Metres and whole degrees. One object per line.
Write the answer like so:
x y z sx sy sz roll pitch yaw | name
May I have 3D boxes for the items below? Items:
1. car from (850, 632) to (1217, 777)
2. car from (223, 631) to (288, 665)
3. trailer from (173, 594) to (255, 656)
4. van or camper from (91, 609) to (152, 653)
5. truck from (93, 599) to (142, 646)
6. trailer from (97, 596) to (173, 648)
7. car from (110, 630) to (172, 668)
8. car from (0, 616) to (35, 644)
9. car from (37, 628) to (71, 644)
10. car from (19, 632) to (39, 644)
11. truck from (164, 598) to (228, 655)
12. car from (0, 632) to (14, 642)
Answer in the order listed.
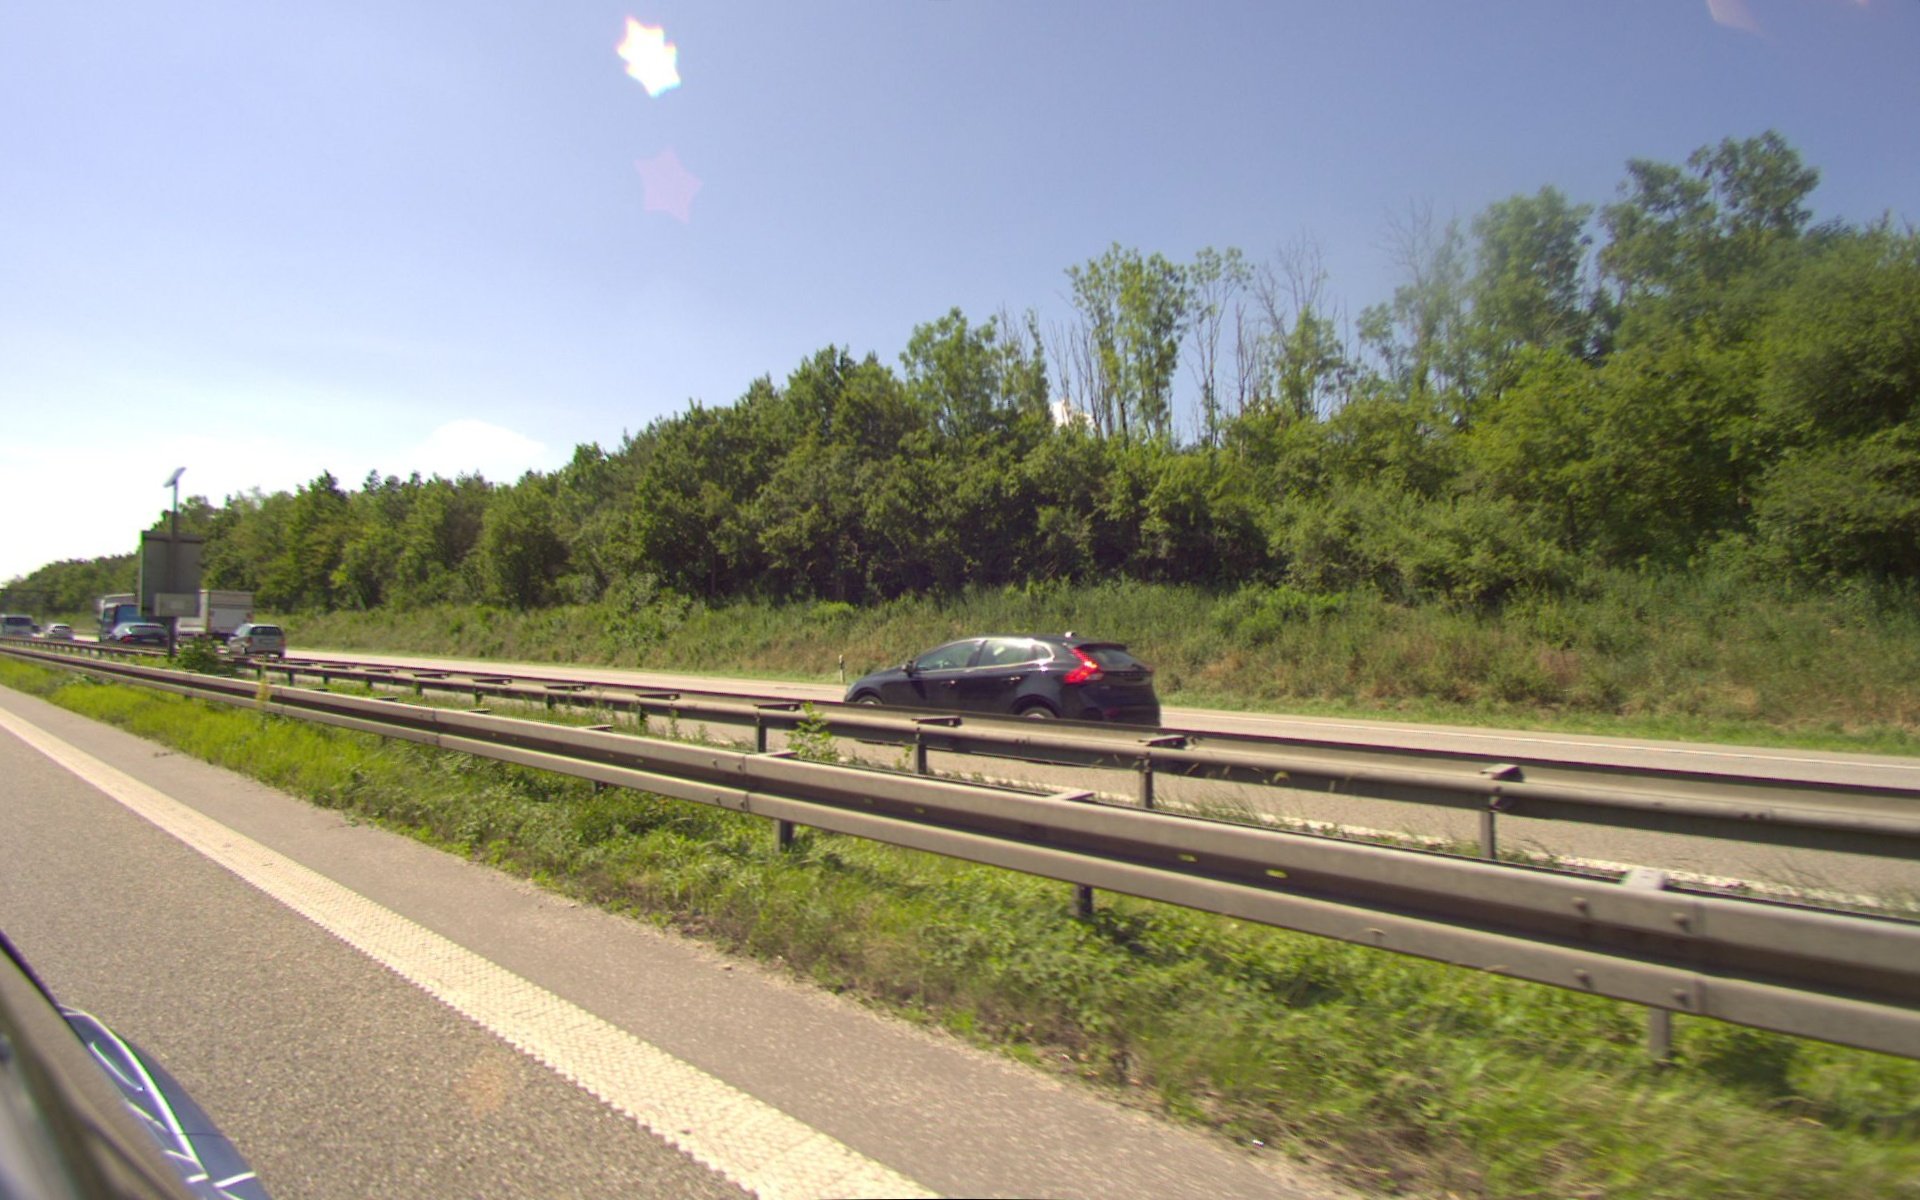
0.736 1.095 11.928 4.147 1.409 1.695 -1 -3 41 | car
-32.875 2.203 47.183 3.543 1.507 1.657 -1 -3 41 | car
-50.050 1.715 67.816 7.689 3.838 2.683 -1 -4 42 | trailer
-57.408 2.153 69.236 6.796 2.833 2.174 -2 -5 42 | van or camper
-76.424 2.104 91.771 3.998 4.089 2.587 -2 -5 41 | truck
-70.938 1.969 86.885 14.163 4.089 2.587 -1 -5 42 | trailer
-34.269 2.026 42.309 3.456 1.540 1.418 -1 -3 41 | car
-72.982 2.338 77.953 5.232 1.996 1.907 -1 -5 42 | car
-80.242 3.179 89.638 4.502 1.429 1.695 -1 -3 42 | car
-130.450 5.291 141.816 4.367 1.580 1.578 -2 -5 41 | car
-53.481 1.893 70.851 3.998 3.838 2.674 -2 -4 41 | truck
-157.356 6.109 166.834 4.940 1.504 1.610 -2 -5 42 | car
